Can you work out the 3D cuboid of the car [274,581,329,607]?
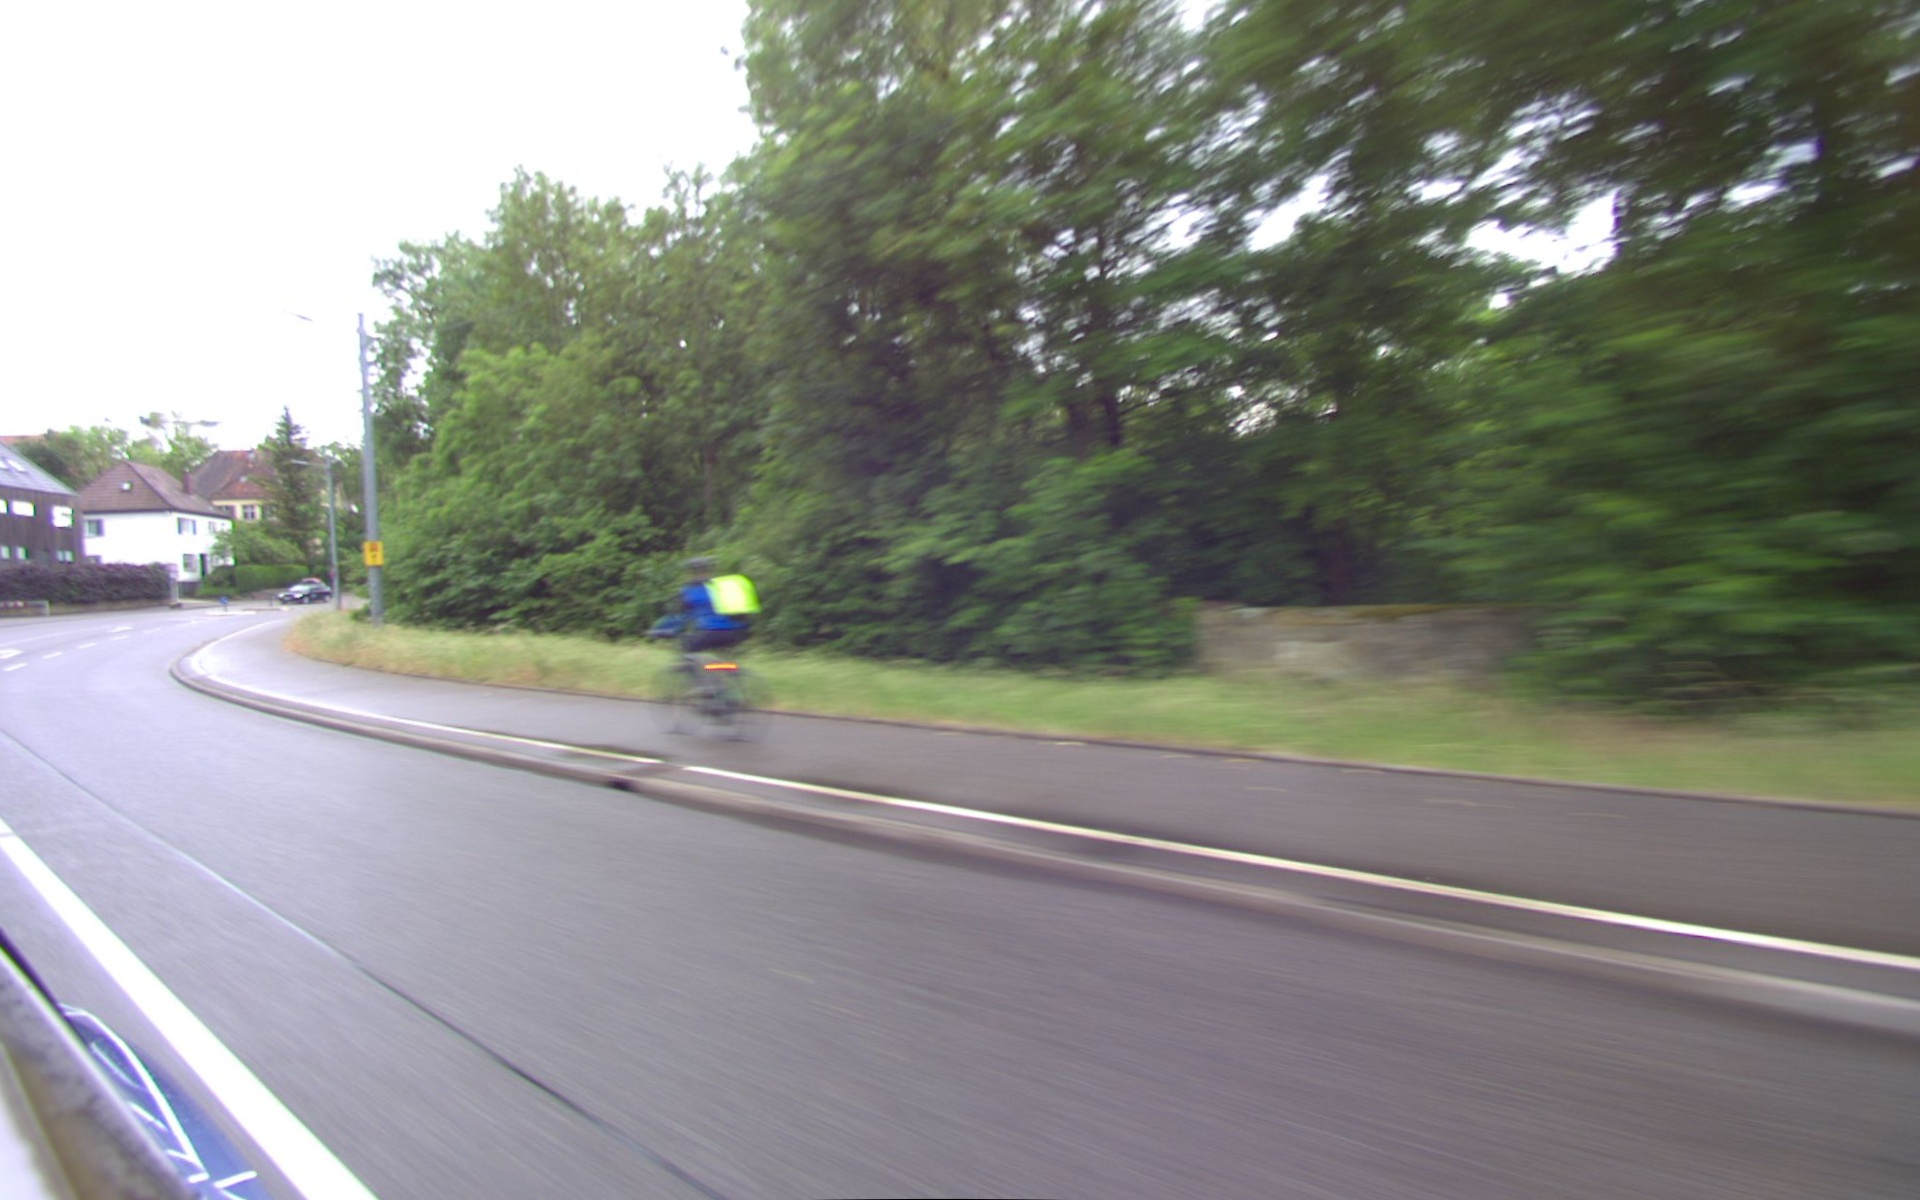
[{"bbox_3d":[-50.565,-0.488,77.831,1.969,1.729,4.008,-1,3,-7],"label":"car"}]

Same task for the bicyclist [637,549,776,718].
[{"bbox_3d":[-2.536,0.316,10.108,1.170,1.567,0.701,-2,2,41],"label":"bicyclist"}]

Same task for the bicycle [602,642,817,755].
[{"bbox_3d":[-2.589,0.934,10.213,2.549,0.948,0.717,-2,2,41],"label":"bicycle"}]
